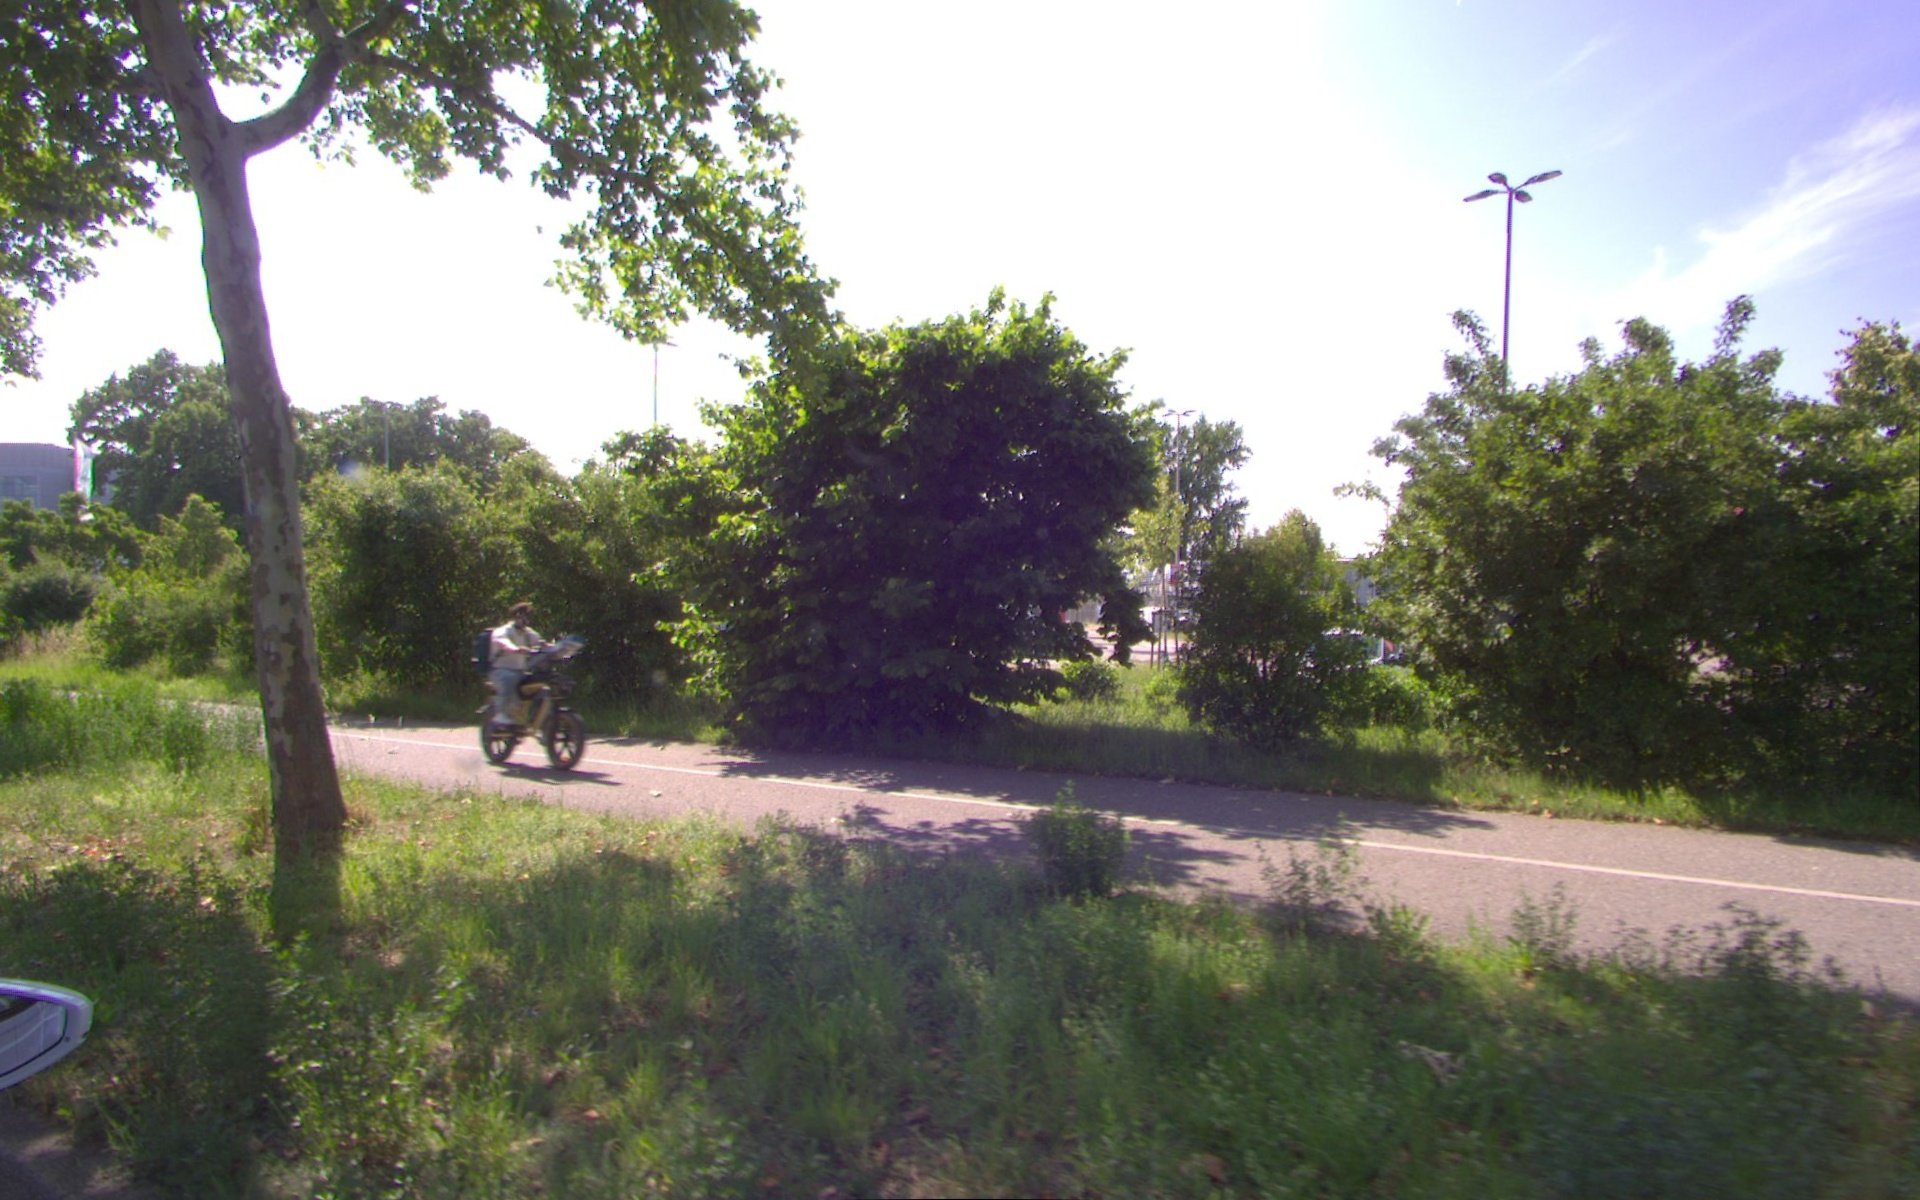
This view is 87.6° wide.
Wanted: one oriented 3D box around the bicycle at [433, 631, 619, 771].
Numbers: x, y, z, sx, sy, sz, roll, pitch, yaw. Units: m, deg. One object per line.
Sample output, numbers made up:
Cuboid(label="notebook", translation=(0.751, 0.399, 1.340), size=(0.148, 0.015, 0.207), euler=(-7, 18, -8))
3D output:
Cuboid(label="bicycle", translation=(-4.478, 0.978, 10.269), size=(2.066, 1.315, 0.721), euler=(-1, -1, 33))

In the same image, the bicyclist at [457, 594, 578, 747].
Cuboid(label="bicyclist", translation=(-4.574, 0.702, 10.356), size=(0.995, 1.496, 0.703), euler=(-1, -1, 32))
